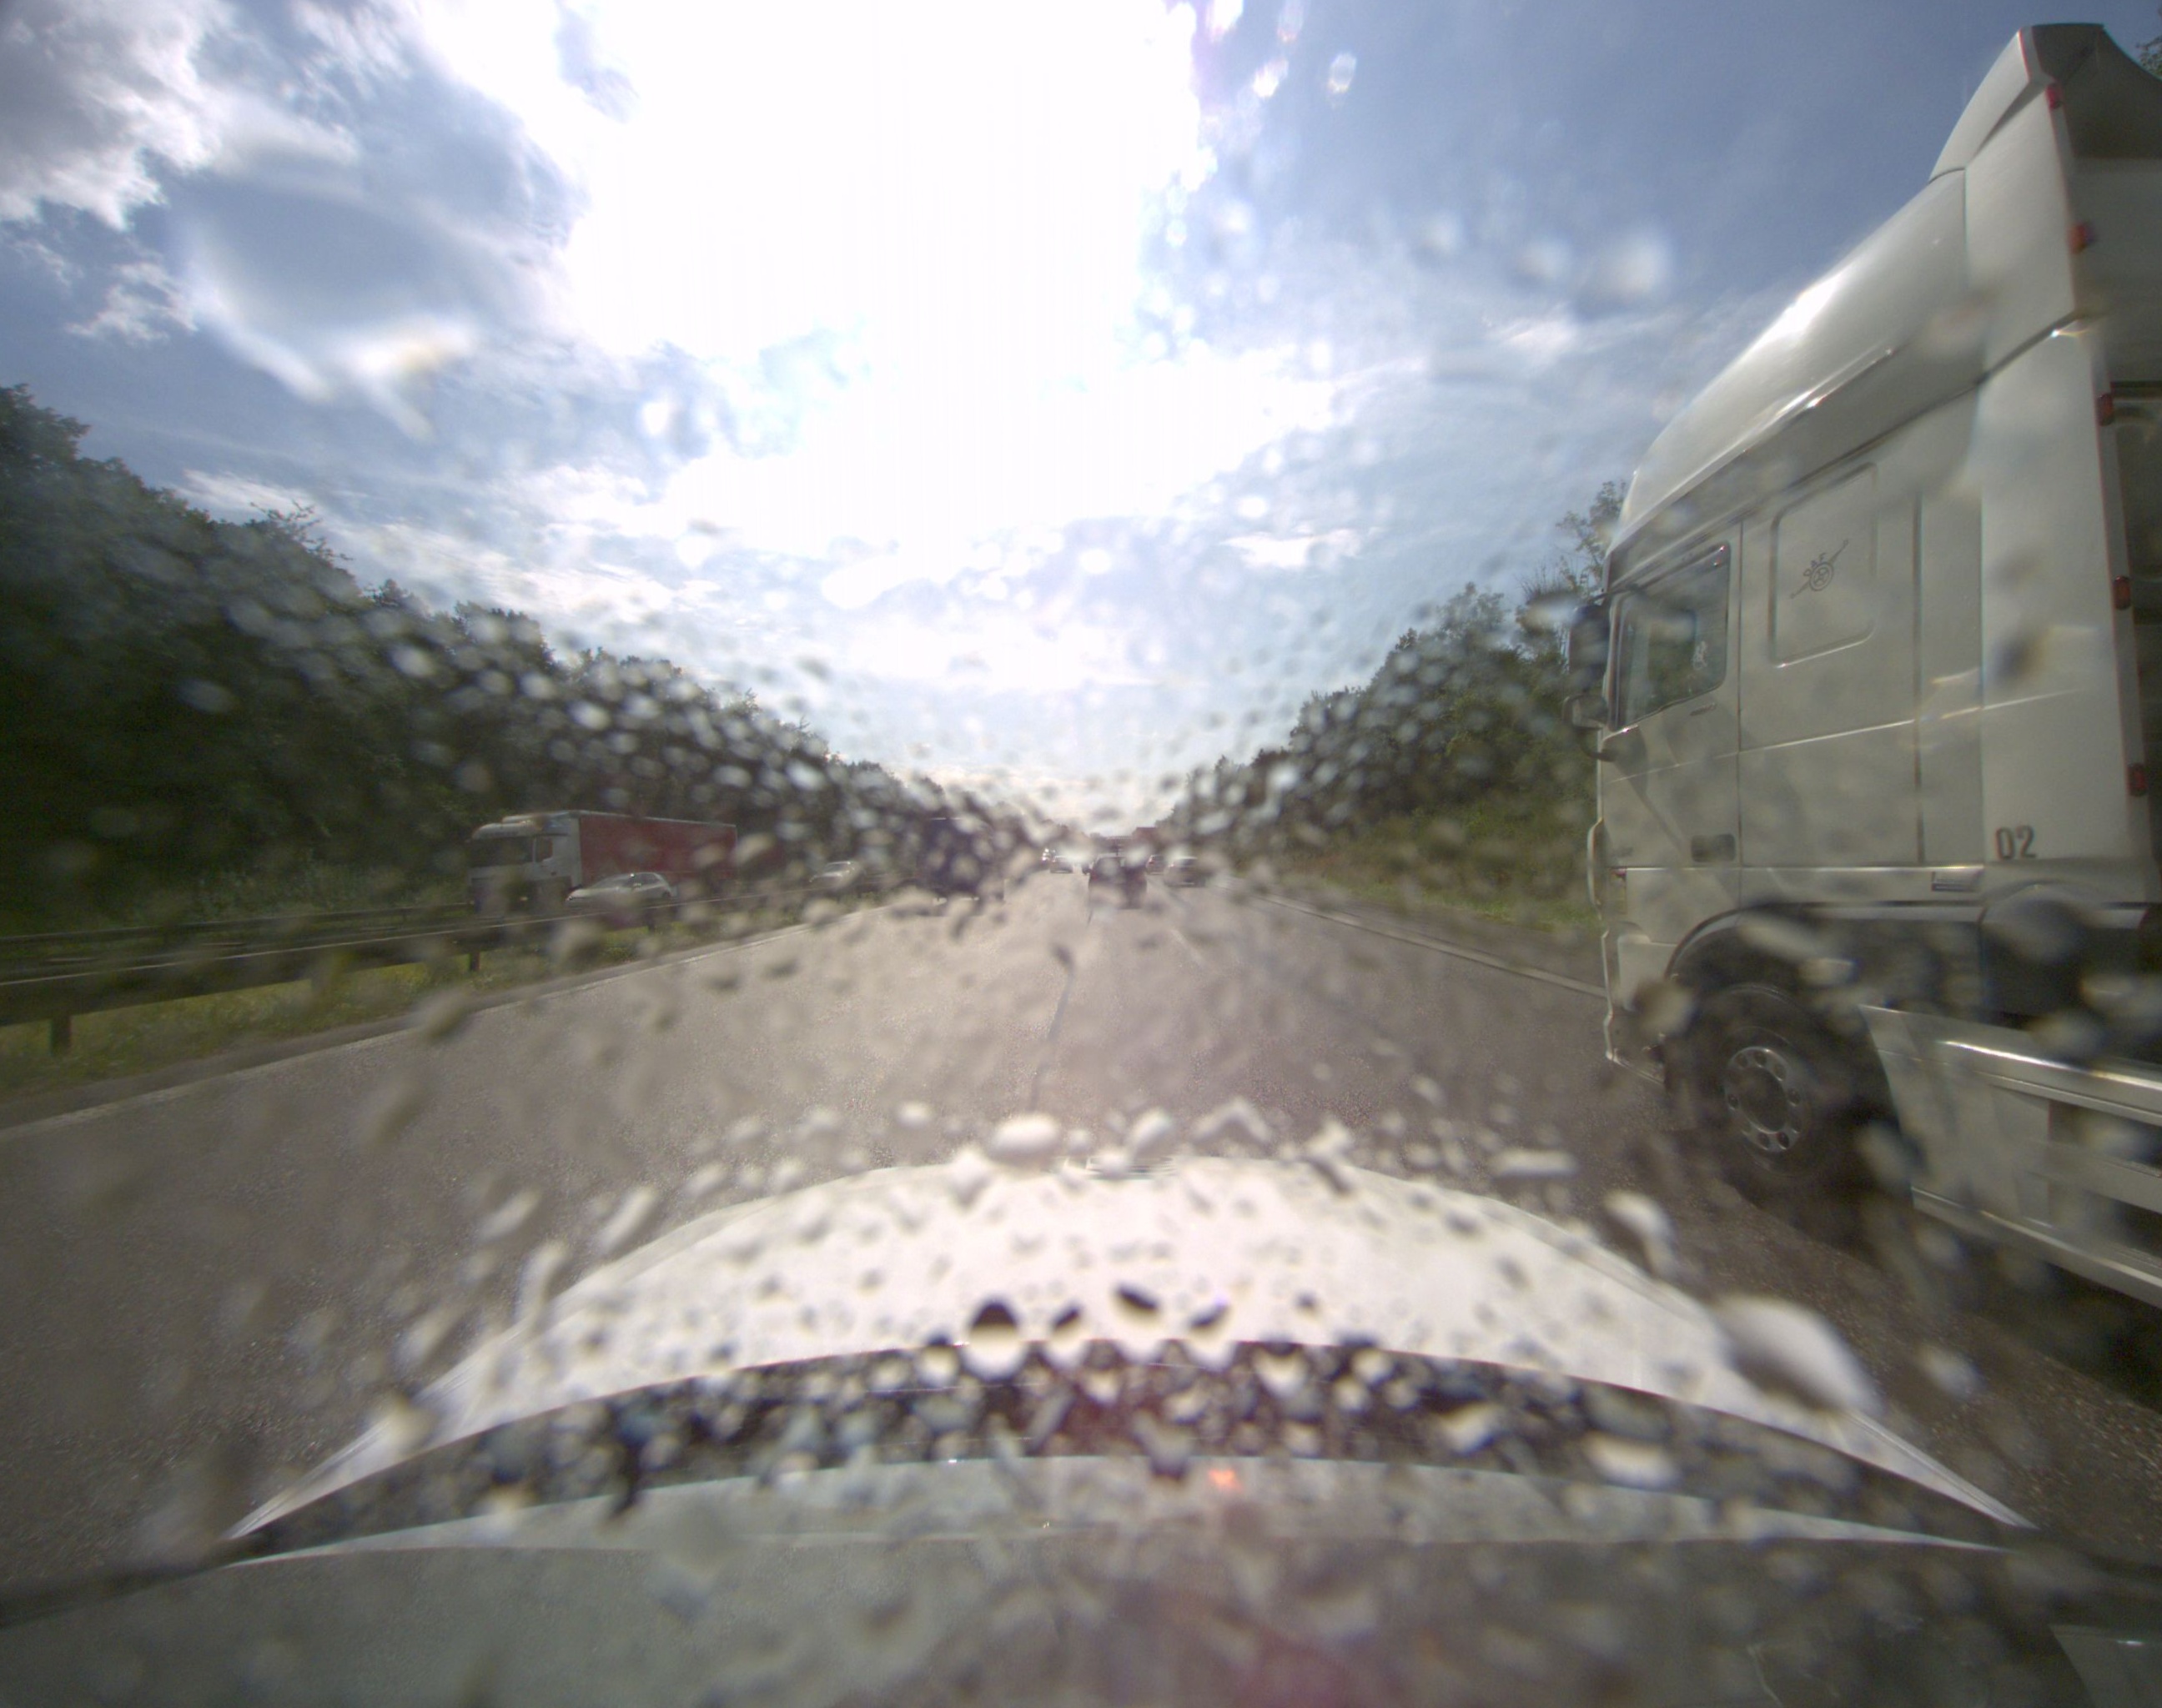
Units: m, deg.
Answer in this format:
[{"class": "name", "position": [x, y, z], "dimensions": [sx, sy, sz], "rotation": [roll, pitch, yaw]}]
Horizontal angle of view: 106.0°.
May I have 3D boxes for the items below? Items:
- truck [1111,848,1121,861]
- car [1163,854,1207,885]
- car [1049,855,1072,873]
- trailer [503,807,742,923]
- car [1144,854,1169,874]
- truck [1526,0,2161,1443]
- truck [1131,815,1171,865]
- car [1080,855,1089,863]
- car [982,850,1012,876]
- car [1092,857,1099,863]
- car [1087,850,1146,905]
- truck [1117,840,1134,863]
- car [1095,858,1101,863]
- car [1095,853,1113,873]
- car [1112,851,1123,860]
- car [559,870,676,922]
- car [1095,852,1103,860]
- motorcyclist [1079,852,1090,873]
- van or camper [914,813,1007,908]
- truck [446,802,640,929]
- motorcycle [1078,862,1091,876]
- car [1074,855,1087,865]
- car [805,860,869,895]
[{"class": "truck", "position": [7.623, 0.170, 176.845], "dimensions": [2.184, 2.875, 4.851], "rotation": [-1, 0, 1]}, {"class": "car", "position": [4.982, 0.736, 39.592], "dimensions": [1.686, 1.425, 4.221], "rotation": [-1, 0, 1]}, {"class": "car", "position": [-1.751, 0.880, 72.167], "dimensions": [1.848, 1.551, 3.485], "rotation": [-1, 0, 1]}, {"class": "trailer", "position": [-20.432, 0.454, 38.102], "dimensions": [2.852, 4.373, 14.096], "rotation": [-1, 0, 2]}, {"class": "car", "position": [5.708, 0.721, 61.979], "dimensions": [1.674, 1.442, 3.906], "rotation": [-1, 0, 1]}, {"class": "truck", "position": [3.913, -0.562, 1.367], "dimensions": [2.596, 3.996, 7.295], "rotation": [-1, 0, 3]}, {"class": "truck", "position": [7.148, -1.281, 85.511], "dimensions": [3.634, 4.720, 16.792], "rotation": [-1, 0, 3]}, {"class": "car", "position": [0.669, 0.854, 138.505], "dimensions": [1.455, 1.393, 3.312], "rotation": [-1, 0, 1]}, {"class": "car", "position": [-8.259, 0.834, 80.368], "dimensions": [2.175, 2.452, 5.749], "rotation": [-1, 0, 1]}, {"class": "car", "position": [3.121, 1.280, 171.269], "dimensions": [1.479, 1.390, 3.199], "rotation": [-1, 0, 1]}, {"class": "car", "position": [1.084, 0.694, 25.388], "dimensions": [1.711, 1.568, 3.485], "rotation": [-1, 0, 1]}, {"class": "truck", "position": [8.863, -0.448, 161.088], "dimensions": [3.242, 4.479, 12.431], "rotation": [-1, 0, 3]}, {"class": "car", "position": [4.045, 1.558, 194.311], "dimensions": [1.543, 1.267, 3.485], "rotation": [-1, 0, 1]}, {"class": "car", "position": [1.993, 0.773, 71.091], "dimensions": [1.526, 1.746, 3.485], "rotation": [-1, 0, 1]}, {"class": "car", "position": [5.397, 0.242, 121.082], "dimensions": [1.547, 1.383, 3.211], "rotation": [-1, 0, 1]}, {"class": "car", "position": [-16.452, 1.435, 29.178], "dimensions": [1.693, 1.663, 4.237], "rotation": [-1, 0, 1]}, {"class": "car", "position": [4.788, 0.618, 215.920], "dimensions": [1.986, 2.013, 4.001], "rotation": [-2, 0, 2]}, {"class": "motorcyclist", "position": [0.287, 0.641, 62.791], "dimensions": [0.799, 1.633, 1.013], "rotation": [-1, -1, 1]}, {"class": "van or camper", "position": [-3.665, 0.203, 25.790], "dimensions": [1.986, 2.669, 5.386], "rotation": [-1, 0, 1]}, {"class": "truck", "position": [-20.620, 0.420, 31.829], "dimensions": [2.852, 4.373, 6.870], "rotation": [-1, 0, 1]}, {"class": "motorcycle", "position": [0.294, 1.152, 62.831], "dimensions": [0.887, 1.000, 2.897], "rotation": [-1, 0, 1]}, {"class": "car", "position": [-0.057, 0.878, 116.482], "dimensions": [1.745, 1.457, 3.390], "rotation": [-1, 0, 1]}, {"class": "car", "position": [-12.392, 1.138, 41.610], "dimensions": [1.831, 1.663, 4.442], "rotation": [-1, 0, 1]}]
